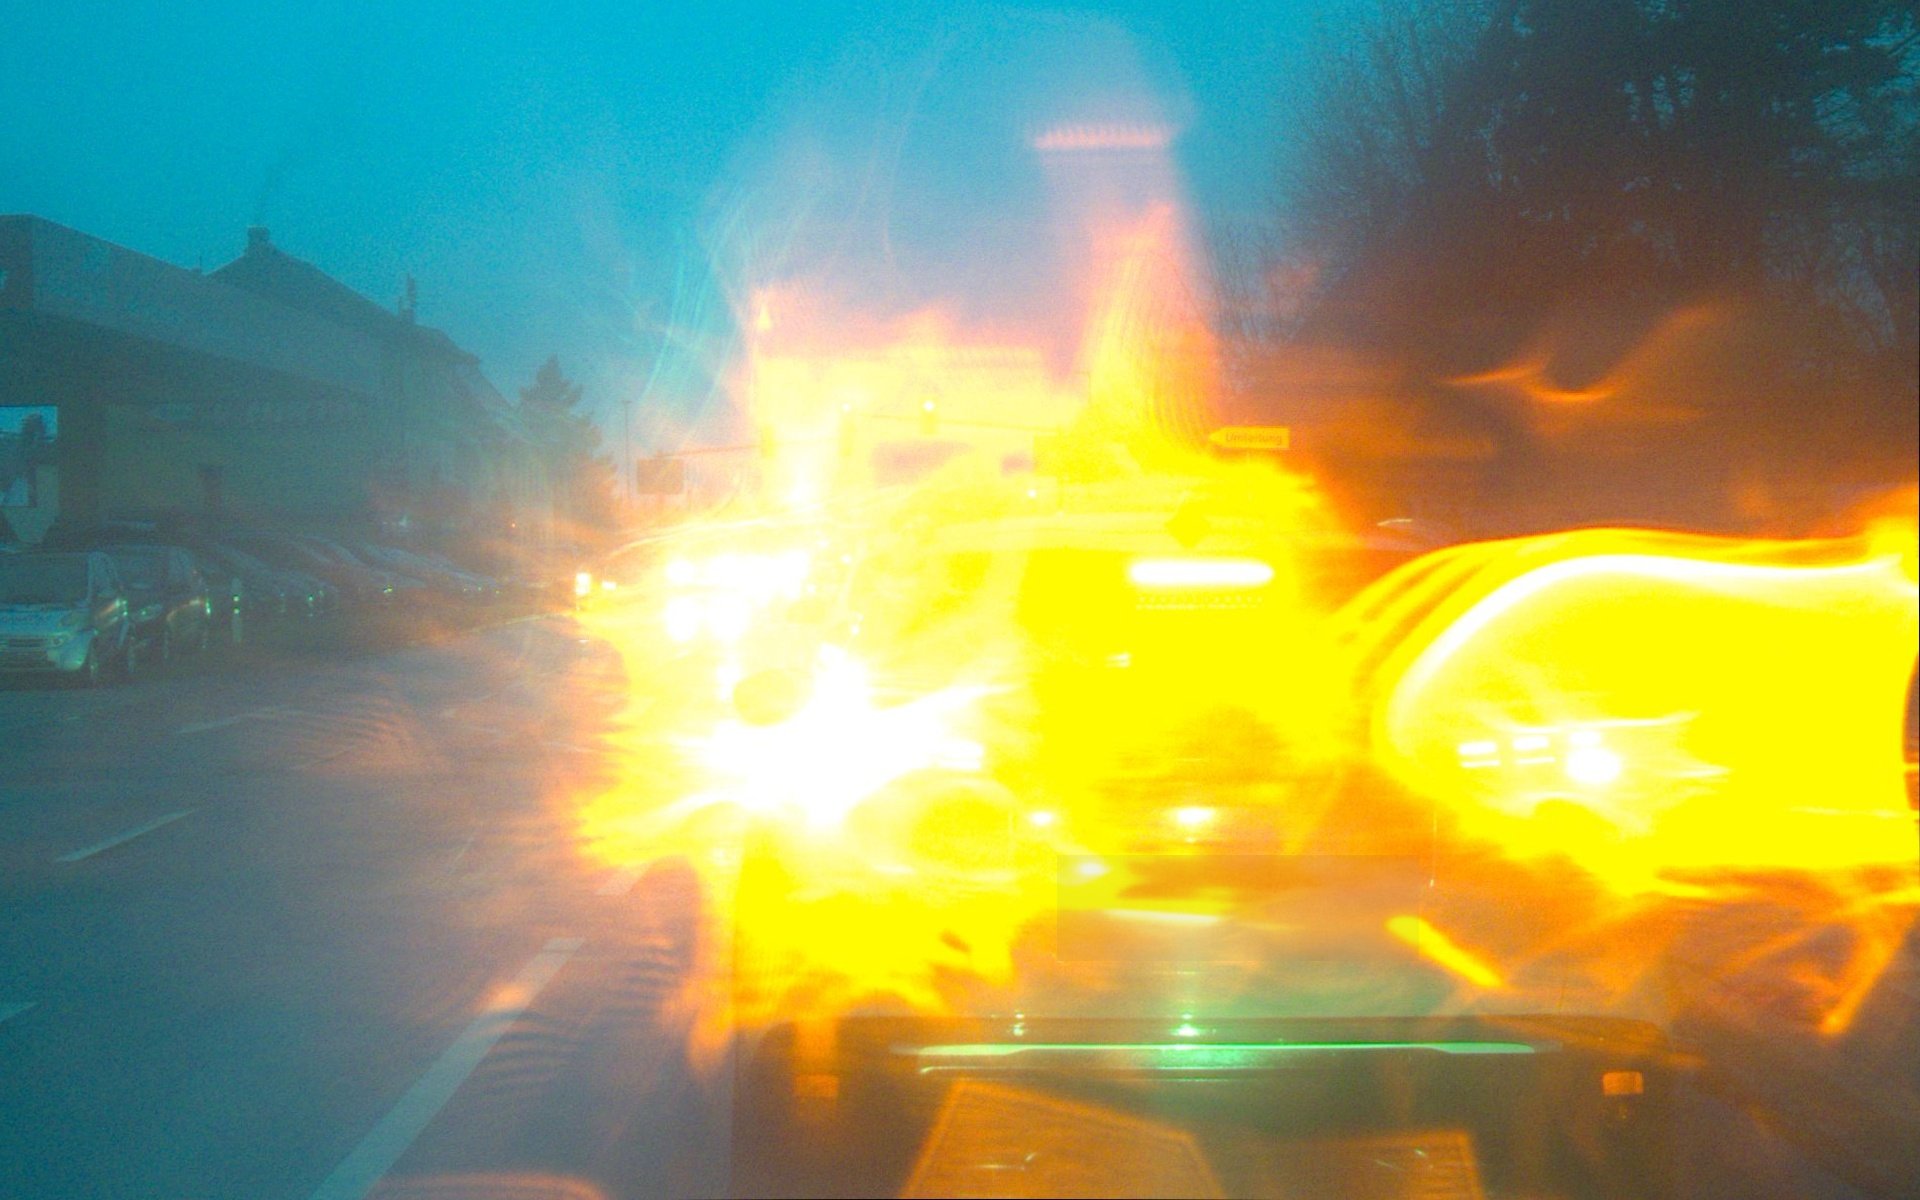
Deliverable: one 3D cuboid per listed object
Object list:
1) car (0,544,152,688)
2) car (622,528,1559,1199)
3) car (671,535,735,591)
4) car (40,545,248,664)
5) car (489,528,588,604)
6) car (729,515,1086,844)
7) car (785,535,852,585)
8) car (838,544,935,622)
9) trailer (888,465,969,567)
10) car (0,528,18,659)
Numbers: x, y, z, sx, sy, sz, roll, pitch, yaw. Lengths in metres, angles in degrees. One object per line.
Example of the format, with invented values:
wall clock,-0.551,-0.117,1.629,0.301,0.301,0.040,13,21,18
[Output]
car,-10.402,0.163,39.507,1.518,1.537,3.015,-2,1,-1
car,0.203,0.608,7.759,1.565,1.524,4.007,0,1,-1
car,-7.445,-1.098,99.836,1.603,1.529,4.000,-3,1,-2
car,-10.303,0.027,43.664,1.682,1.416,3.740,-1,1,1
car,-10.695,-0.895,87.479,1.970,1.824,4.513,-2,1,-1
car,-0.275,0.337,18.885,1.708,1.570,4.464,-1,1,-1
car,-4.668,-1.320,113.057,2.047,1.567,4.704,-2,1,-4
car,-1.299,-0.326,61.315,1.653,1.331,4.272,0,1,-1
trailer,-1.106,-2.734,114.517,2.488,3.229,10.869,0,1,-2
car,-14.112,-0.050,43.067,4.047,1.644,1.942,-1,1,1
